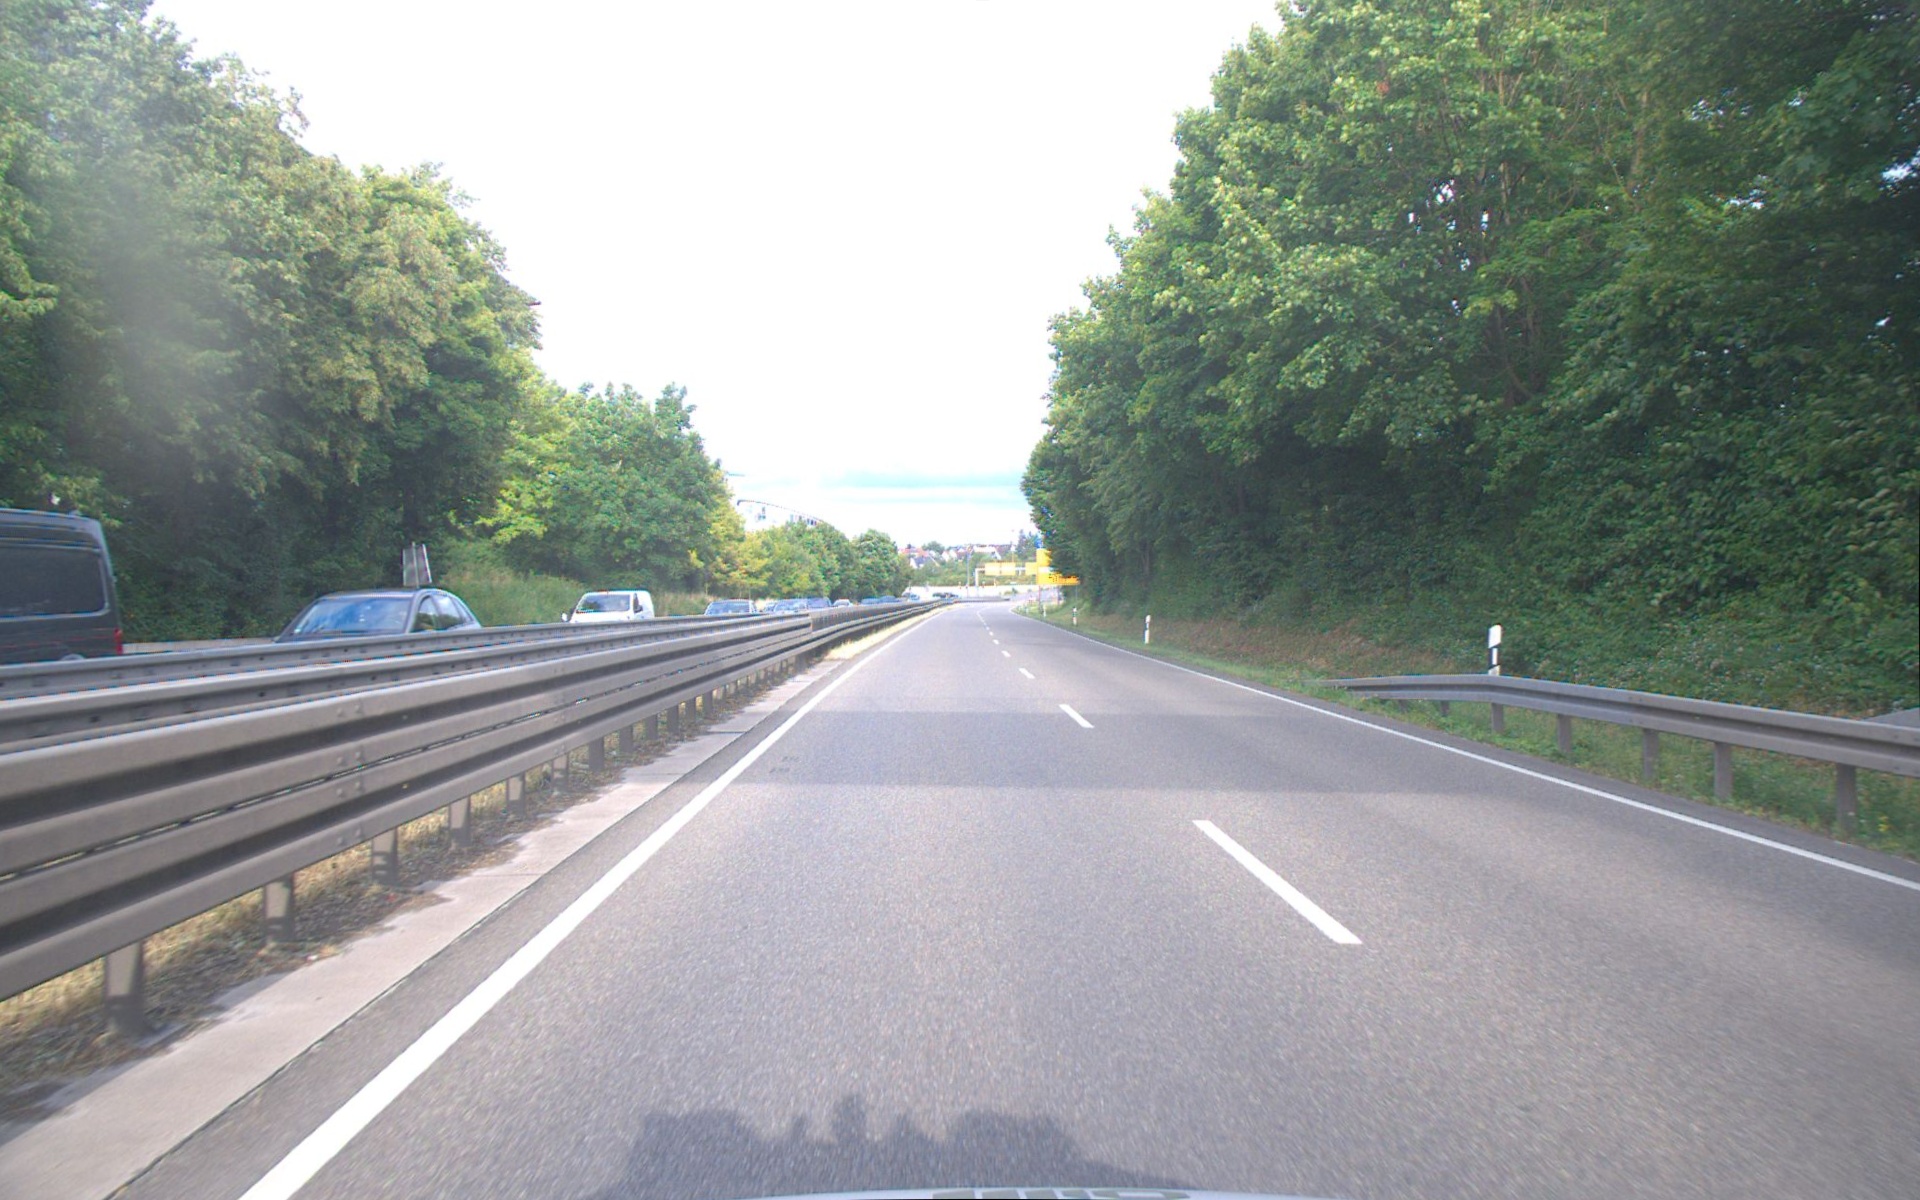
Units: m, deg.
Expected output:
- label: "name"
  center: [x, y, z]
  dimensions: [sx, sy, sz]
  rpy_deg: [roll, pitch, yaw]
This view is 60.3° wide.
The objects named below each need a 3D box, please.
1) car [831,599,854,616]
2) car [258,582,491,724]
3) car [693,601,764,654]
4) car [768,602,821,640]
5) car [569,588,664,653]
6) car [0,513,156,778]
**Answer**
- label: "car"
  center: [-10.368, 0.643, 146.280]
  dimensions: [1.780, 1.511, 4.416]
  rpy_deg: [0, 0, -1]
- label: "car"
  center: [-6.939, 0.571, 19.955]
  dimensions: [1.573, 1.555, 3.640]
  rpy_deg: [0, 0, -1]
- label: "car"
  center: [-7.005, 0.806, 50.276]
  dimensions: [1.647, 1.512, 3.646]
  rpy_deg: [0, 0, 0]
- label: "car"
  center: [-6.314, 0.788, 63.361]
  dimensions: [1.641, 1.376, 3.831]
  rpy_deg: [-1, 0, -1]
- label: "car"
  center: [-10.330, 0.581, 50.085]
  dimensions: [1.829, 1.888, 4.623]
  rpy_deg: [0, 0, 1]
- label: "car"
  center: [-10.463, 0.447, 15.765]
  dimensions: [2.203, 2.581, 6.940]
  rpy_deg: [0, 0, 0]
